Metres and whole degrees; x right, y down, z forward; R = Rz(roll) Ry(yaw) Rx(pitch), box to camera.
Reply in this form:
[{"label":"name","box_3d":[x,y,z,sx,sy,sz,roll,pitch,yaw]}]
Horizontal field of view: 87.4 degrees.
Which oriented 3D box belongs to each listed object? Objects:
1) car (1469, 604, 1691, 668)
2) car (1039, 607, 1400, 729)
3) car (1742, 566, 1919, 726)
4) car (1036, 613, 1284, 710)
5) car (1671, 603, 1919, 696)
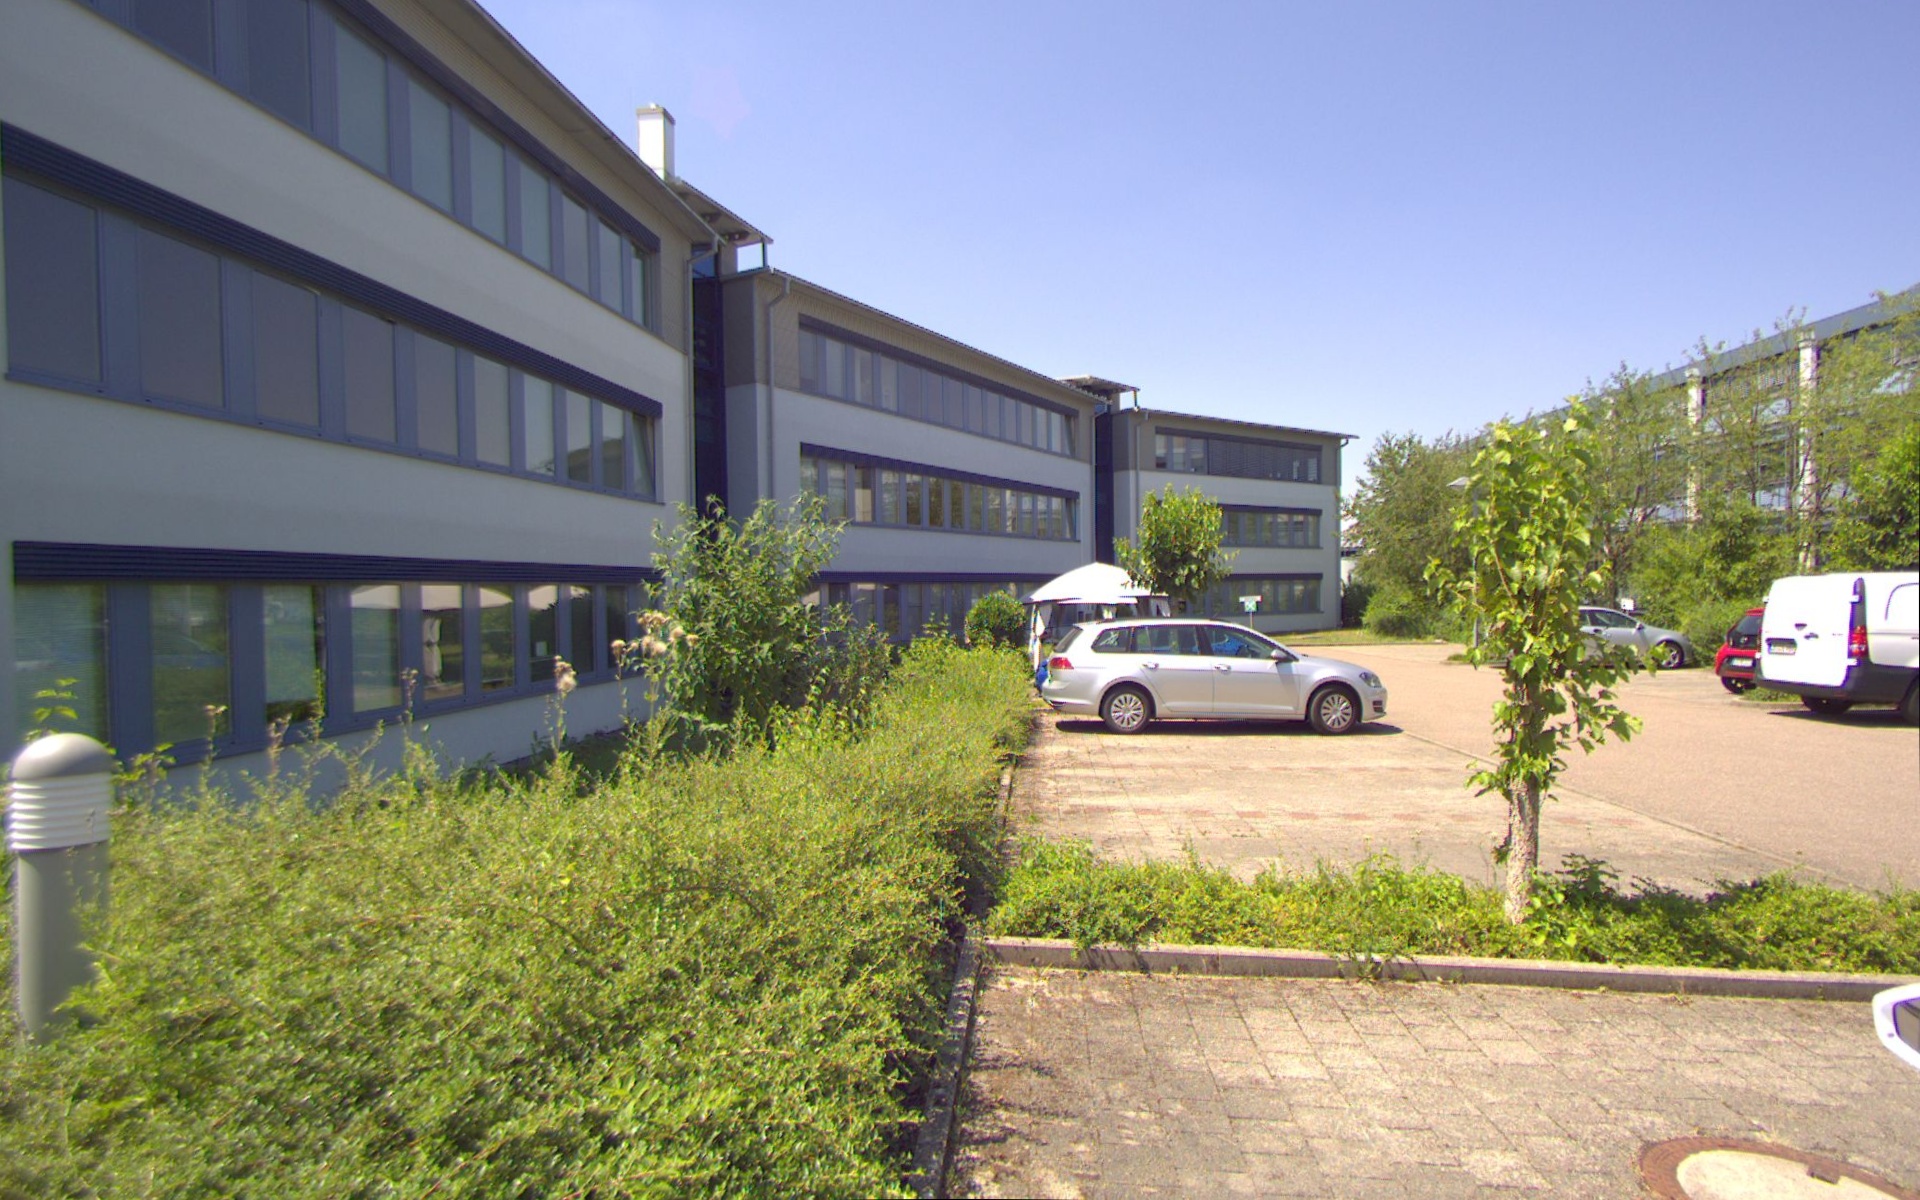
[{"label":"car","box_3d":[14.645,0.837,23.945,4.086,1.425,1.874,-1,0,7]},{"label":"car","box_3d":[3.288,0.865,13.461,4.394,1.492,1.864,-1,0,3]},{"label":"car","box_3d":[13.218,0.525,12.904,4.706,1.916,1.888,-1,0,5]},{"label":"car","box_3d":[3.343,1.018,17.307,3.919,1.481,2.001,-2,0,7]},{"label":"car","box_3d":[14.564,0.798,16.863,3.919,1.460,1.789,-1,0,6]}]
